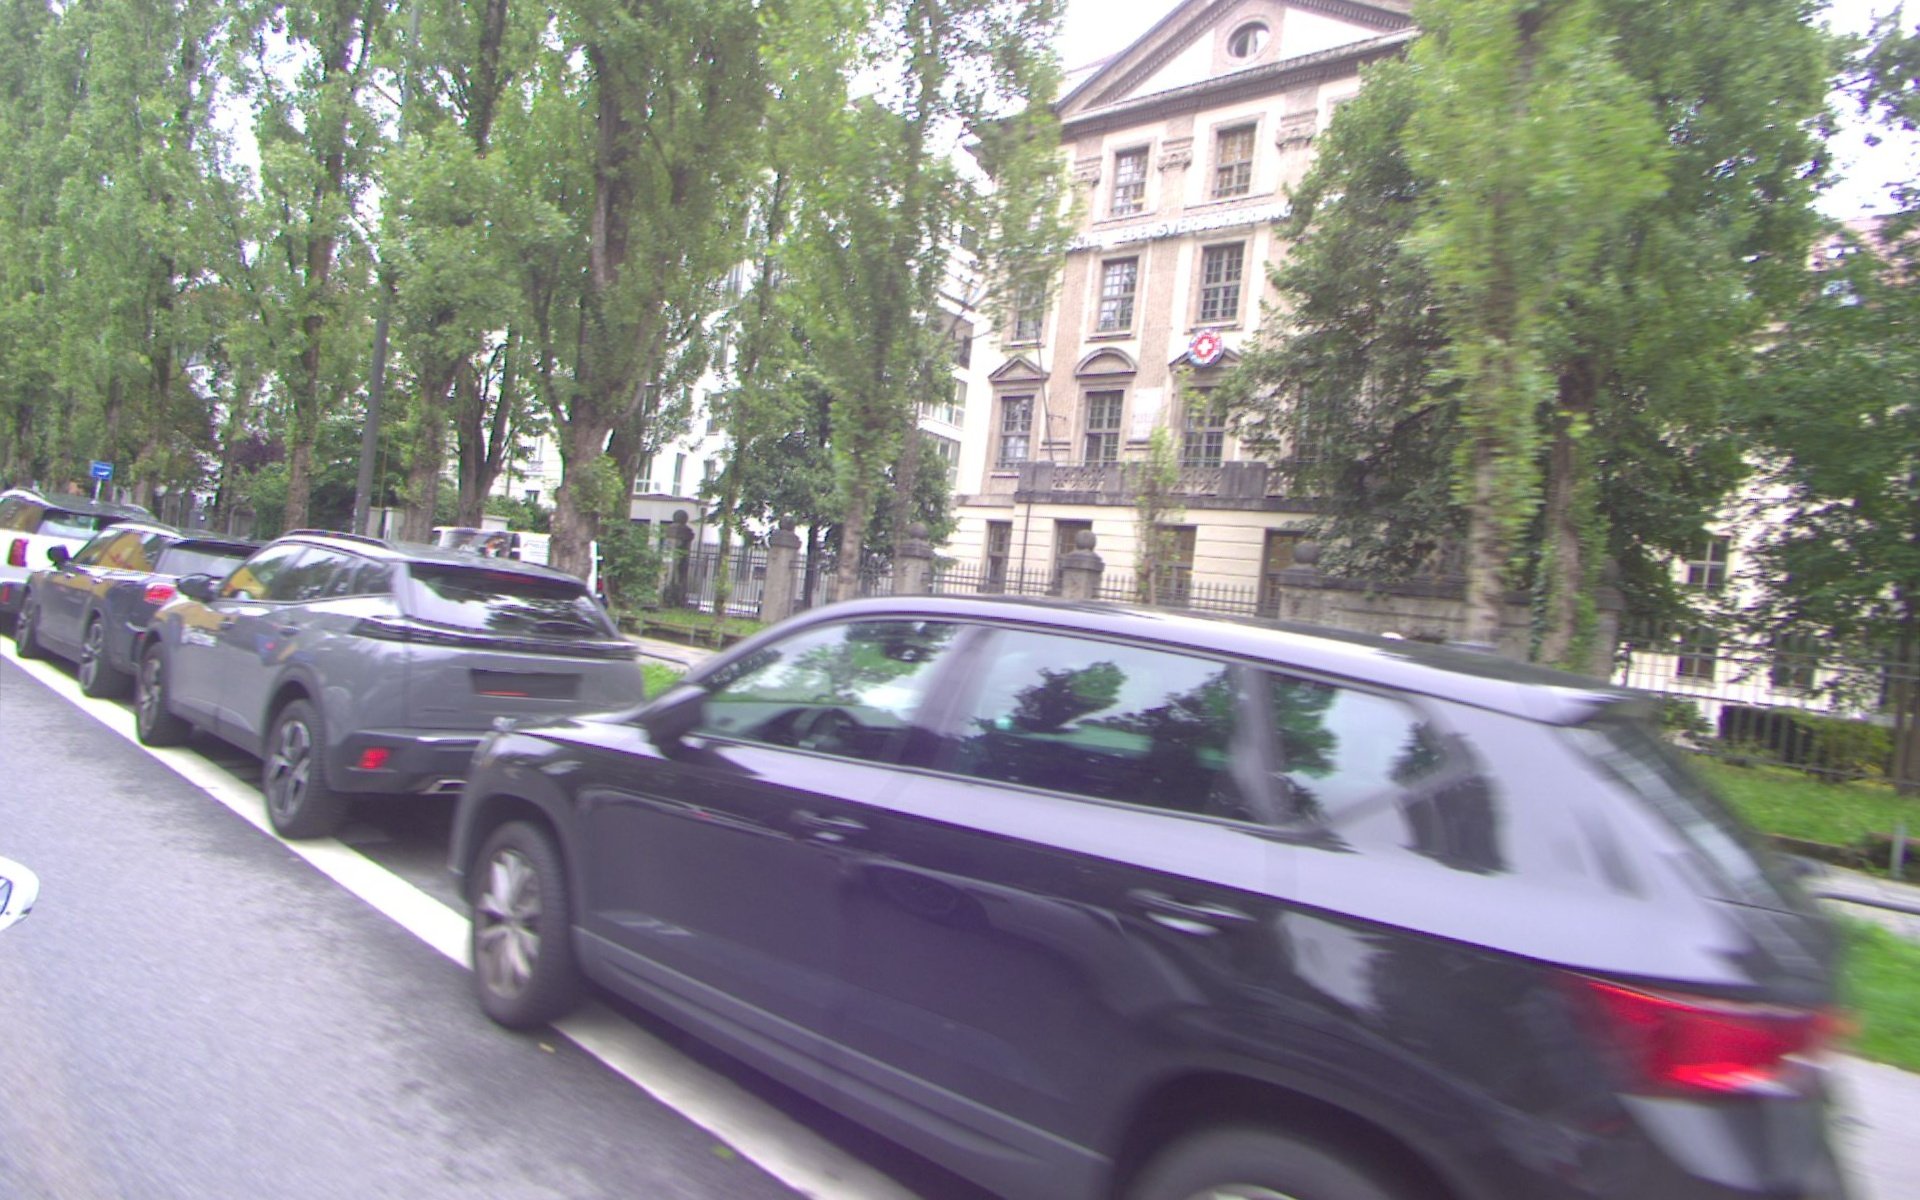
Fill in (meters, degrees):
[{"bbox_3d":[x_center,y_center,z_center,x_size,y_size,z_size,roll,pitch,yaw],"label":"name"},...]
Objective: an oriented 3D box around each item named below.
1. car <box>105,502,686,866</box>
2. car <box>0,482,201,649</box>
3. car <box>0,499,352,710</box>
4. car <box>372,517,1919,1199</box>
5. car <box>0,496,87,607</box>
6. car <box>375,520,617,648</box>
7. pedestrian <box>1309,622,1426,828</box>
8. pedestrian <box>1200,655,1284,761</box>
[{"bbox_3d":[-3.739,0.339,6.359,4.052,1.521,1.652,6,-2,38],"label":"car"},{"bbox_3d":[-11.172,-0.494,12.396,4.085,1.599,1.782,6,-3,38],"label":"car"},{"bbox_3d":[-7.581,-0.022,9.534,4.087,1.462,1.634,6,-3,38],"label":"car"},{"bbox_3d":[0.075,0.754,3.191,4.160,1.609,1.821,6,-2,38],"label":"car"},{"bbox_3d":[-15.474,-0.905,15.914,4.261,1.513,1.724,6,-1,39],"label":"car"},{"bbox_3d":[-9.251,-0.367,19.858,5.244,1.948,1.993,6,-1,38],"label":"car"},{"bbox_3d":[3.613,1.085,8.908,0.623,1.679,0.715,7,0,38],"label":"pedestrian"},{"bbox_3d":[3.686,1.392,13.135,0.661,1.260,0.878,7,2,38],"label":"pedestrian"}]
